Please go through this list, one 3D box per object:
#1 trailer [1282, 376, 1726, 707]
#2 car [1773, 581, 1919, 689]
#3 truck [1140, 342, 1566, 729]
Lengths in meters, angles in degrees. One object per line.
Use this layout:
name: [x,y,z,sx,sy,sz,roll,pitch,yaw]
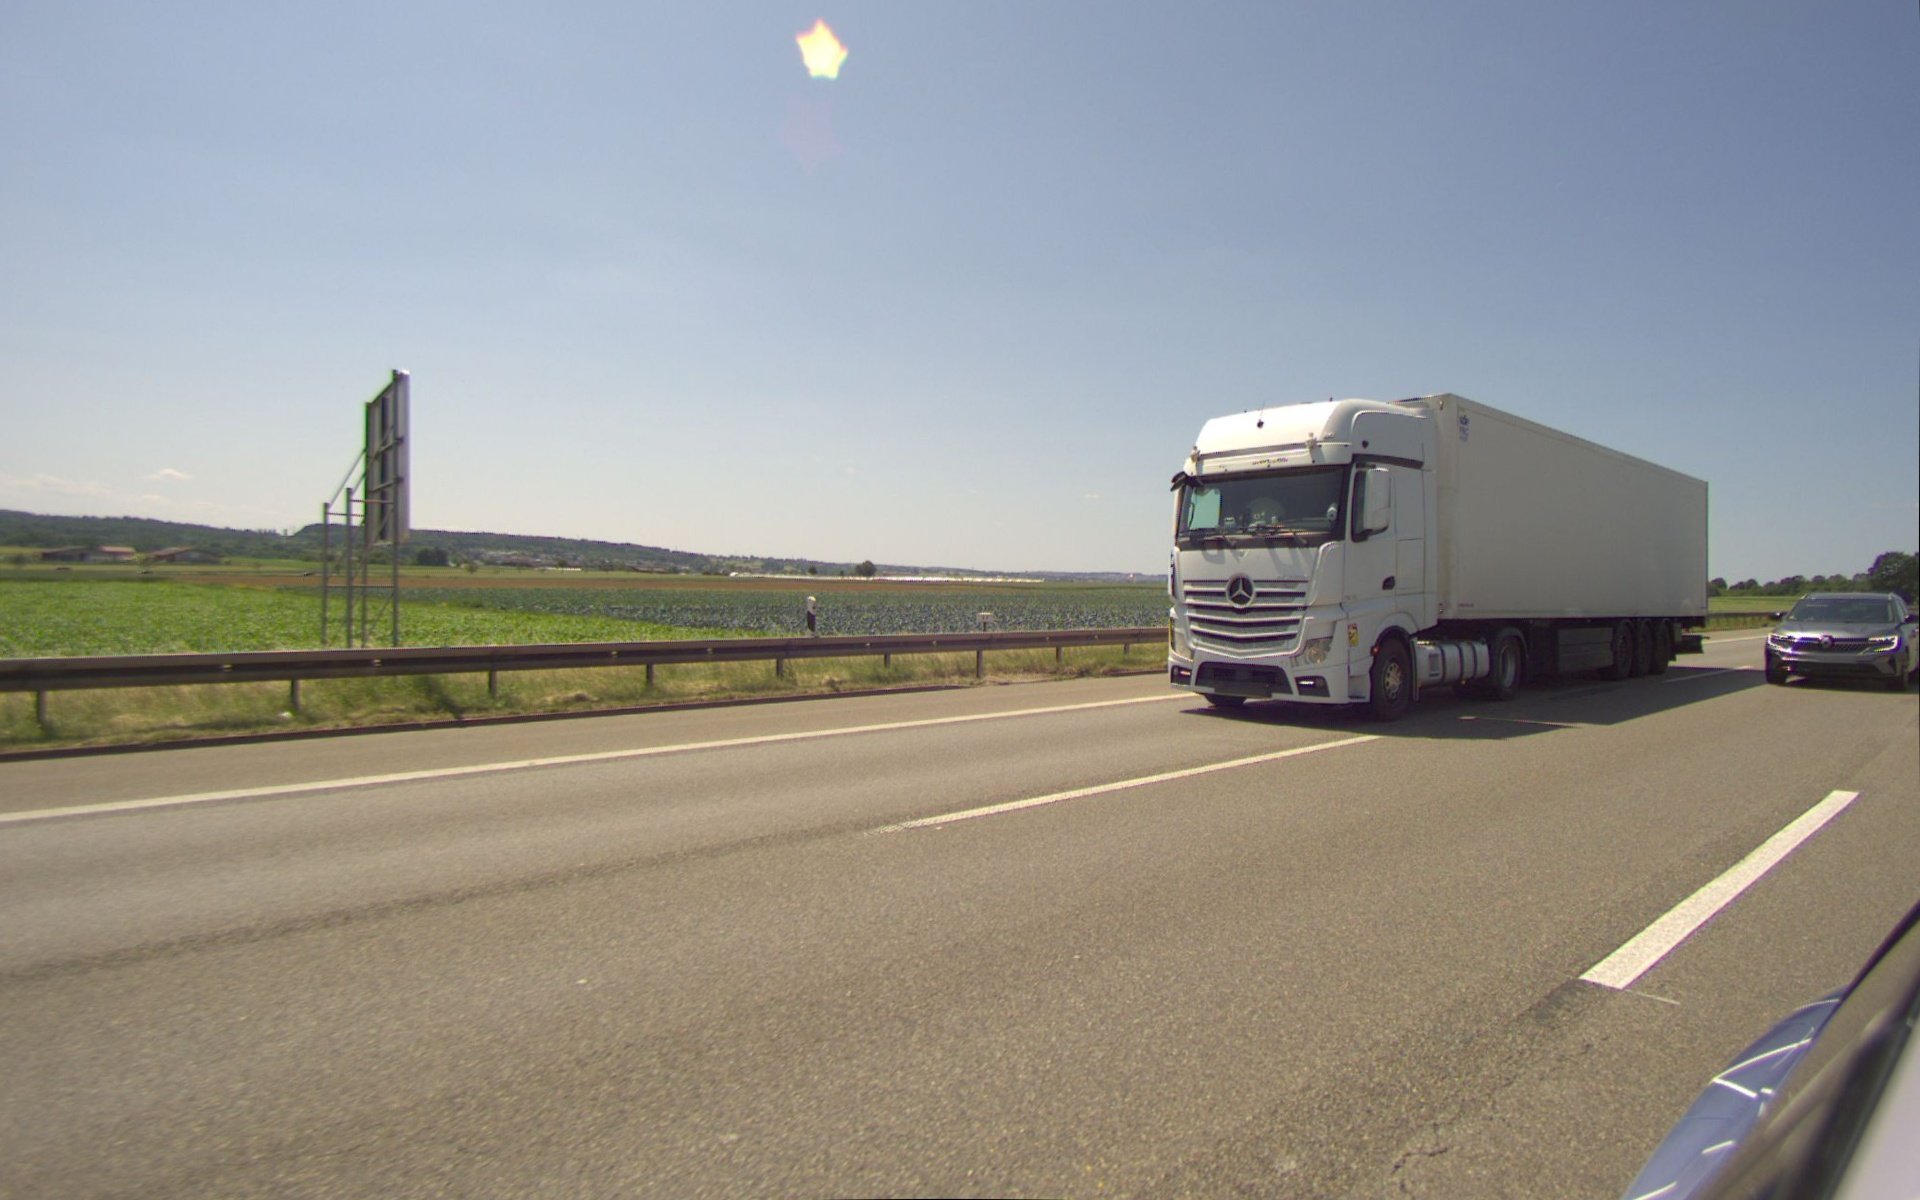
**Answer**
trailer: [10.657,-0.800,18.508,13.065,4.273,2.872,0,0,-42]
car: [16.107,0.544,18.029,4.565,1.669,1.854,0,1,-42]
truck: [5.756,-0.712,14.187,6.762,4.143,2.866,0,0,-42]
